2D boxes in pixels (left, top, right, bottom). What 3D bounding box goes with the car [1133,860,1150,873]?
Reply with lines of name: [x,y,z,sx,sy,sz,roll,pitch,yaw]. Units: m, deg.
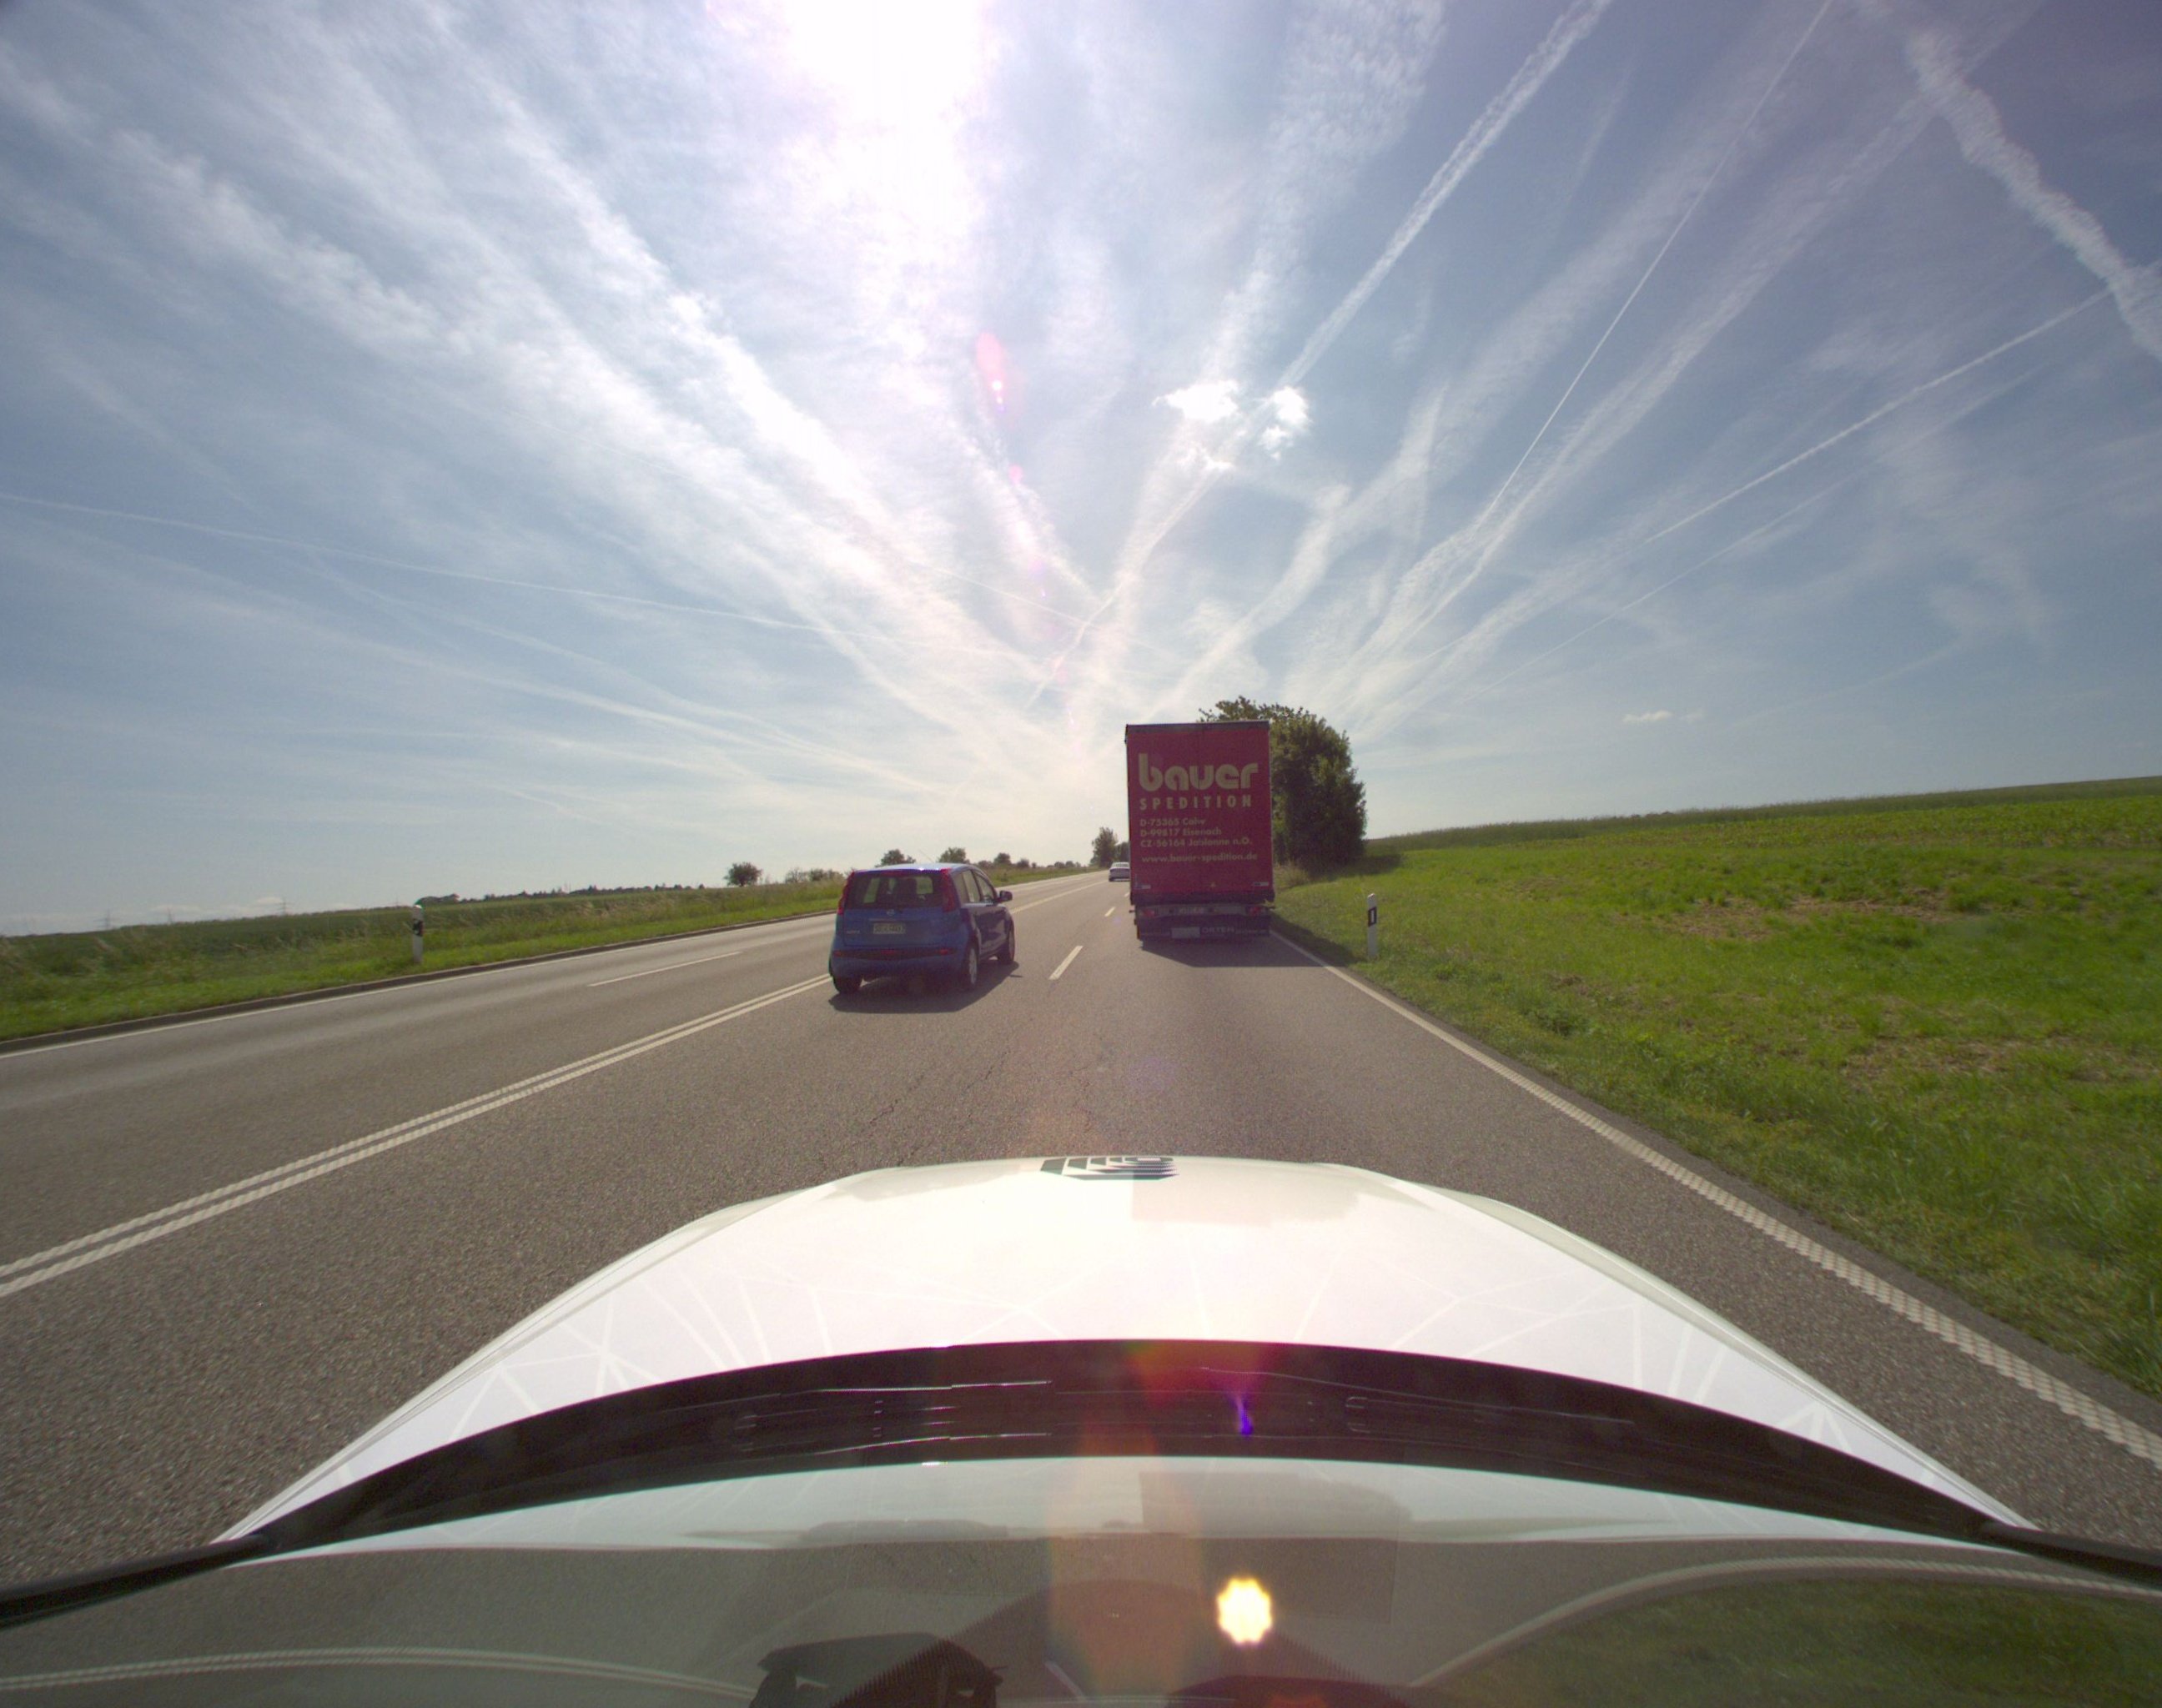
car: [6.978,1.404,93.549,1.811,1.472,4.796,0,0,6]

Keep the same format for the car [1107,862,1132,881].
car: [2.984,1.289,61.806,1.695,1.376,4.609,-1,-1,5]

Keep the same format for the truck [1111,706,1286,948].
truck: [2.338,-0.424,22.457,2.995,4.180,16.721,0,0,2]

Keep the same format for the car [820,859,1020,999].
car: [-1.960,0.856,11.069,1.624,1.531,3.919,-2,-1,4]
